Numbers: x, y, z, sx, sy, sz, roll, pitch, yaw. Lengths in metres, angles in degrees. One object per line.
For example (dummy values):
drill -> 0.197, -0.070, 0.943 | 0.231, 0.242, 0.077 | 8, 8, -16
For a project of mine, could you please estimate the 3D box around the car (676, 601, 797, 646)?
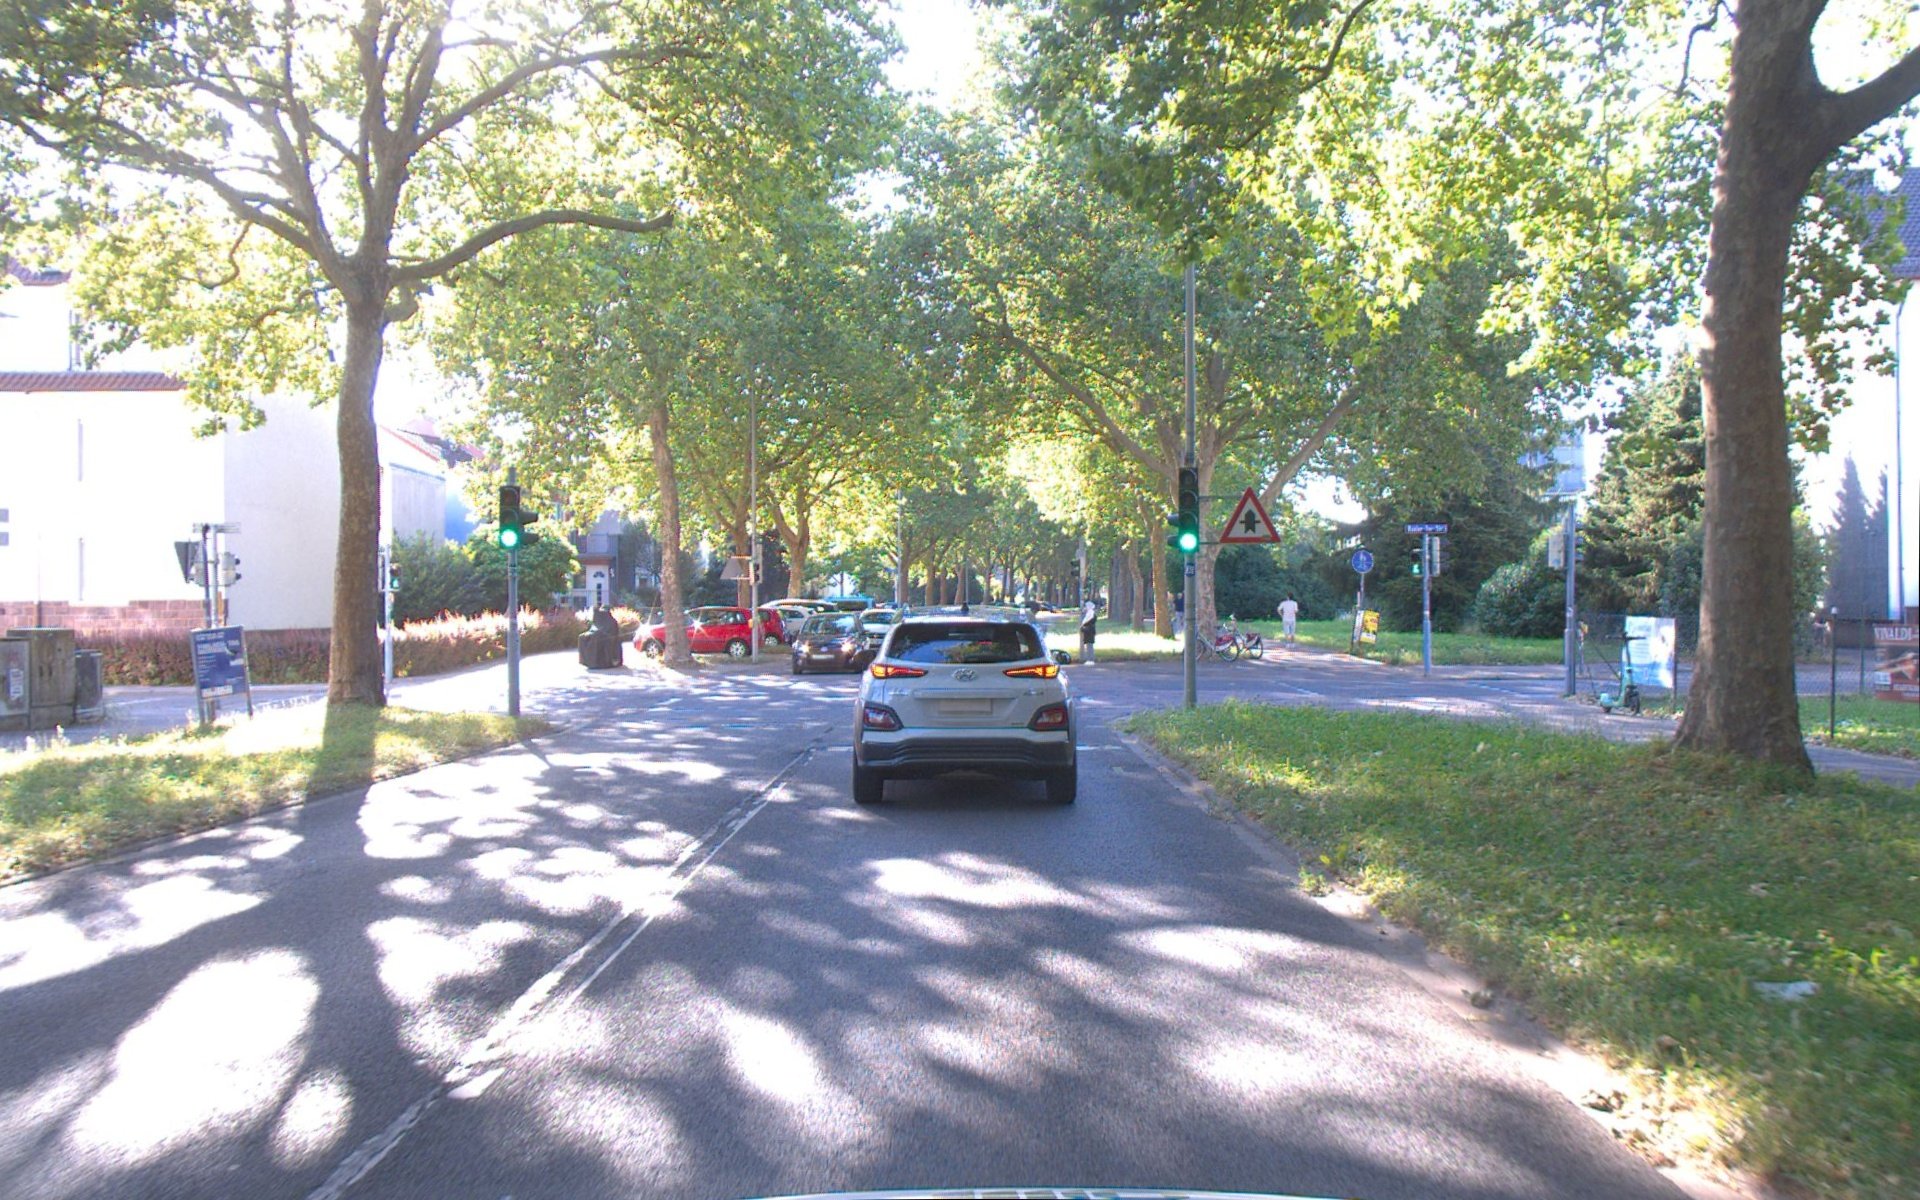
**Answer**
car -> -7.723, 0.820, 57.366 | 3.905, 1.504, 2.000 | 1, -1, 0

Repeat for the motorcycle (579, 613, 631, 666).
motorcycle -> -9.679, 1.065, 45.205 | 0.829, 1.403, 2.776 | 1, -1, -1

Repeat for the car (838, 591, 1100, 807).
car -> 0.043, 0.765, 14.433 | 1.953, 1.602, 3.999 | 1, -1, -1

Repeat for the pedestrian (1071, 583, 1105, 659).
pedestrian -> 3.481, 0.571, 45.004 | 0.849, 2.049, 0.814 | 0, -1, 8

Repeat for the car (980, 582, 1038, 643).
car -> 1.740, 0.401, 59.139 | 1.952, 2.049, 4.001 | -2, 0, 1

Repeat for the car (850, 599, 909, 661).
car -> -2.589, 0.975, 53.653 | 1.755, 1.915, 3.999 | 1, -1, -1

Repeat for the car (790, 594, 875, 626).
car -> -6.082, 0.485, 79.238 | 3.905, 1.504, 2.000 | 1, -1, 0

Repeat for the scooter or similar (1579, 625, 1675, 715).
scooter or similar -> 9.970, 1.016, 24.797 | 0.538, 1.280, 2.313 | 1, -1, 1

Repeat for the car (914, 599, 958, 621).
car -> -2.058, 0.875, 141.402 | 3.602, 1.840, 1.745 | 0, 0, -10

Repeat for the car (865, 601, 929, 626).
car -> -3.904, 0.858, 103.362 | 3.905, 1.504, 2.000 | 1, -1, 0

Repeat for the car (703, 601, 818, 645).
car -> -7.160, 0.832, 59.656 | 3.905, 1.504, 2.000 | 1, -1, 0

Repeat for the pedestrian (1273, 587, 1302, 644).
pedestrian -> 10.327, 0.483, 52.181 | 0.816, 1.766, 0.885 | 0, -1, 8

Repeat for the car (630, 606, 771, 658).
car -> -7.777, 0.960, 49.821 | 3.905, 1.504, 2.000 | 1, -1, 0

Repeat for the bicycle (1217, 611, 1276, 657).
bicycle -> 7.674, 0.903, 44.366 | 0.594, 1.204, 2.106 | 1, -1, -19

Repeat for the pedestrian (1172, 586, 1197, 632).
pedestrian -> 10.362, 0.413, 76.414 | 1.071, 2.049, 1.106 | -1, 0, 6

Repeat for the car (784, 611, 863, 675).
car -> -3.364, 1.048, 41.343 | 1.653, 1.462, 3.682 | 1, 0, 0

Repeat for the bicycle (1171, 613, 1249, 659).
bicycle -> 6.560, 0.936, 43.558 | 0.600, 1.184, 2.115 | 2, -1, -43

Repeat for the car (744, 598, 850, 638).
car -> -6.341, 0.723, 64.725 | 3.905, 1.504, 2.000 | 1, -1, 0
